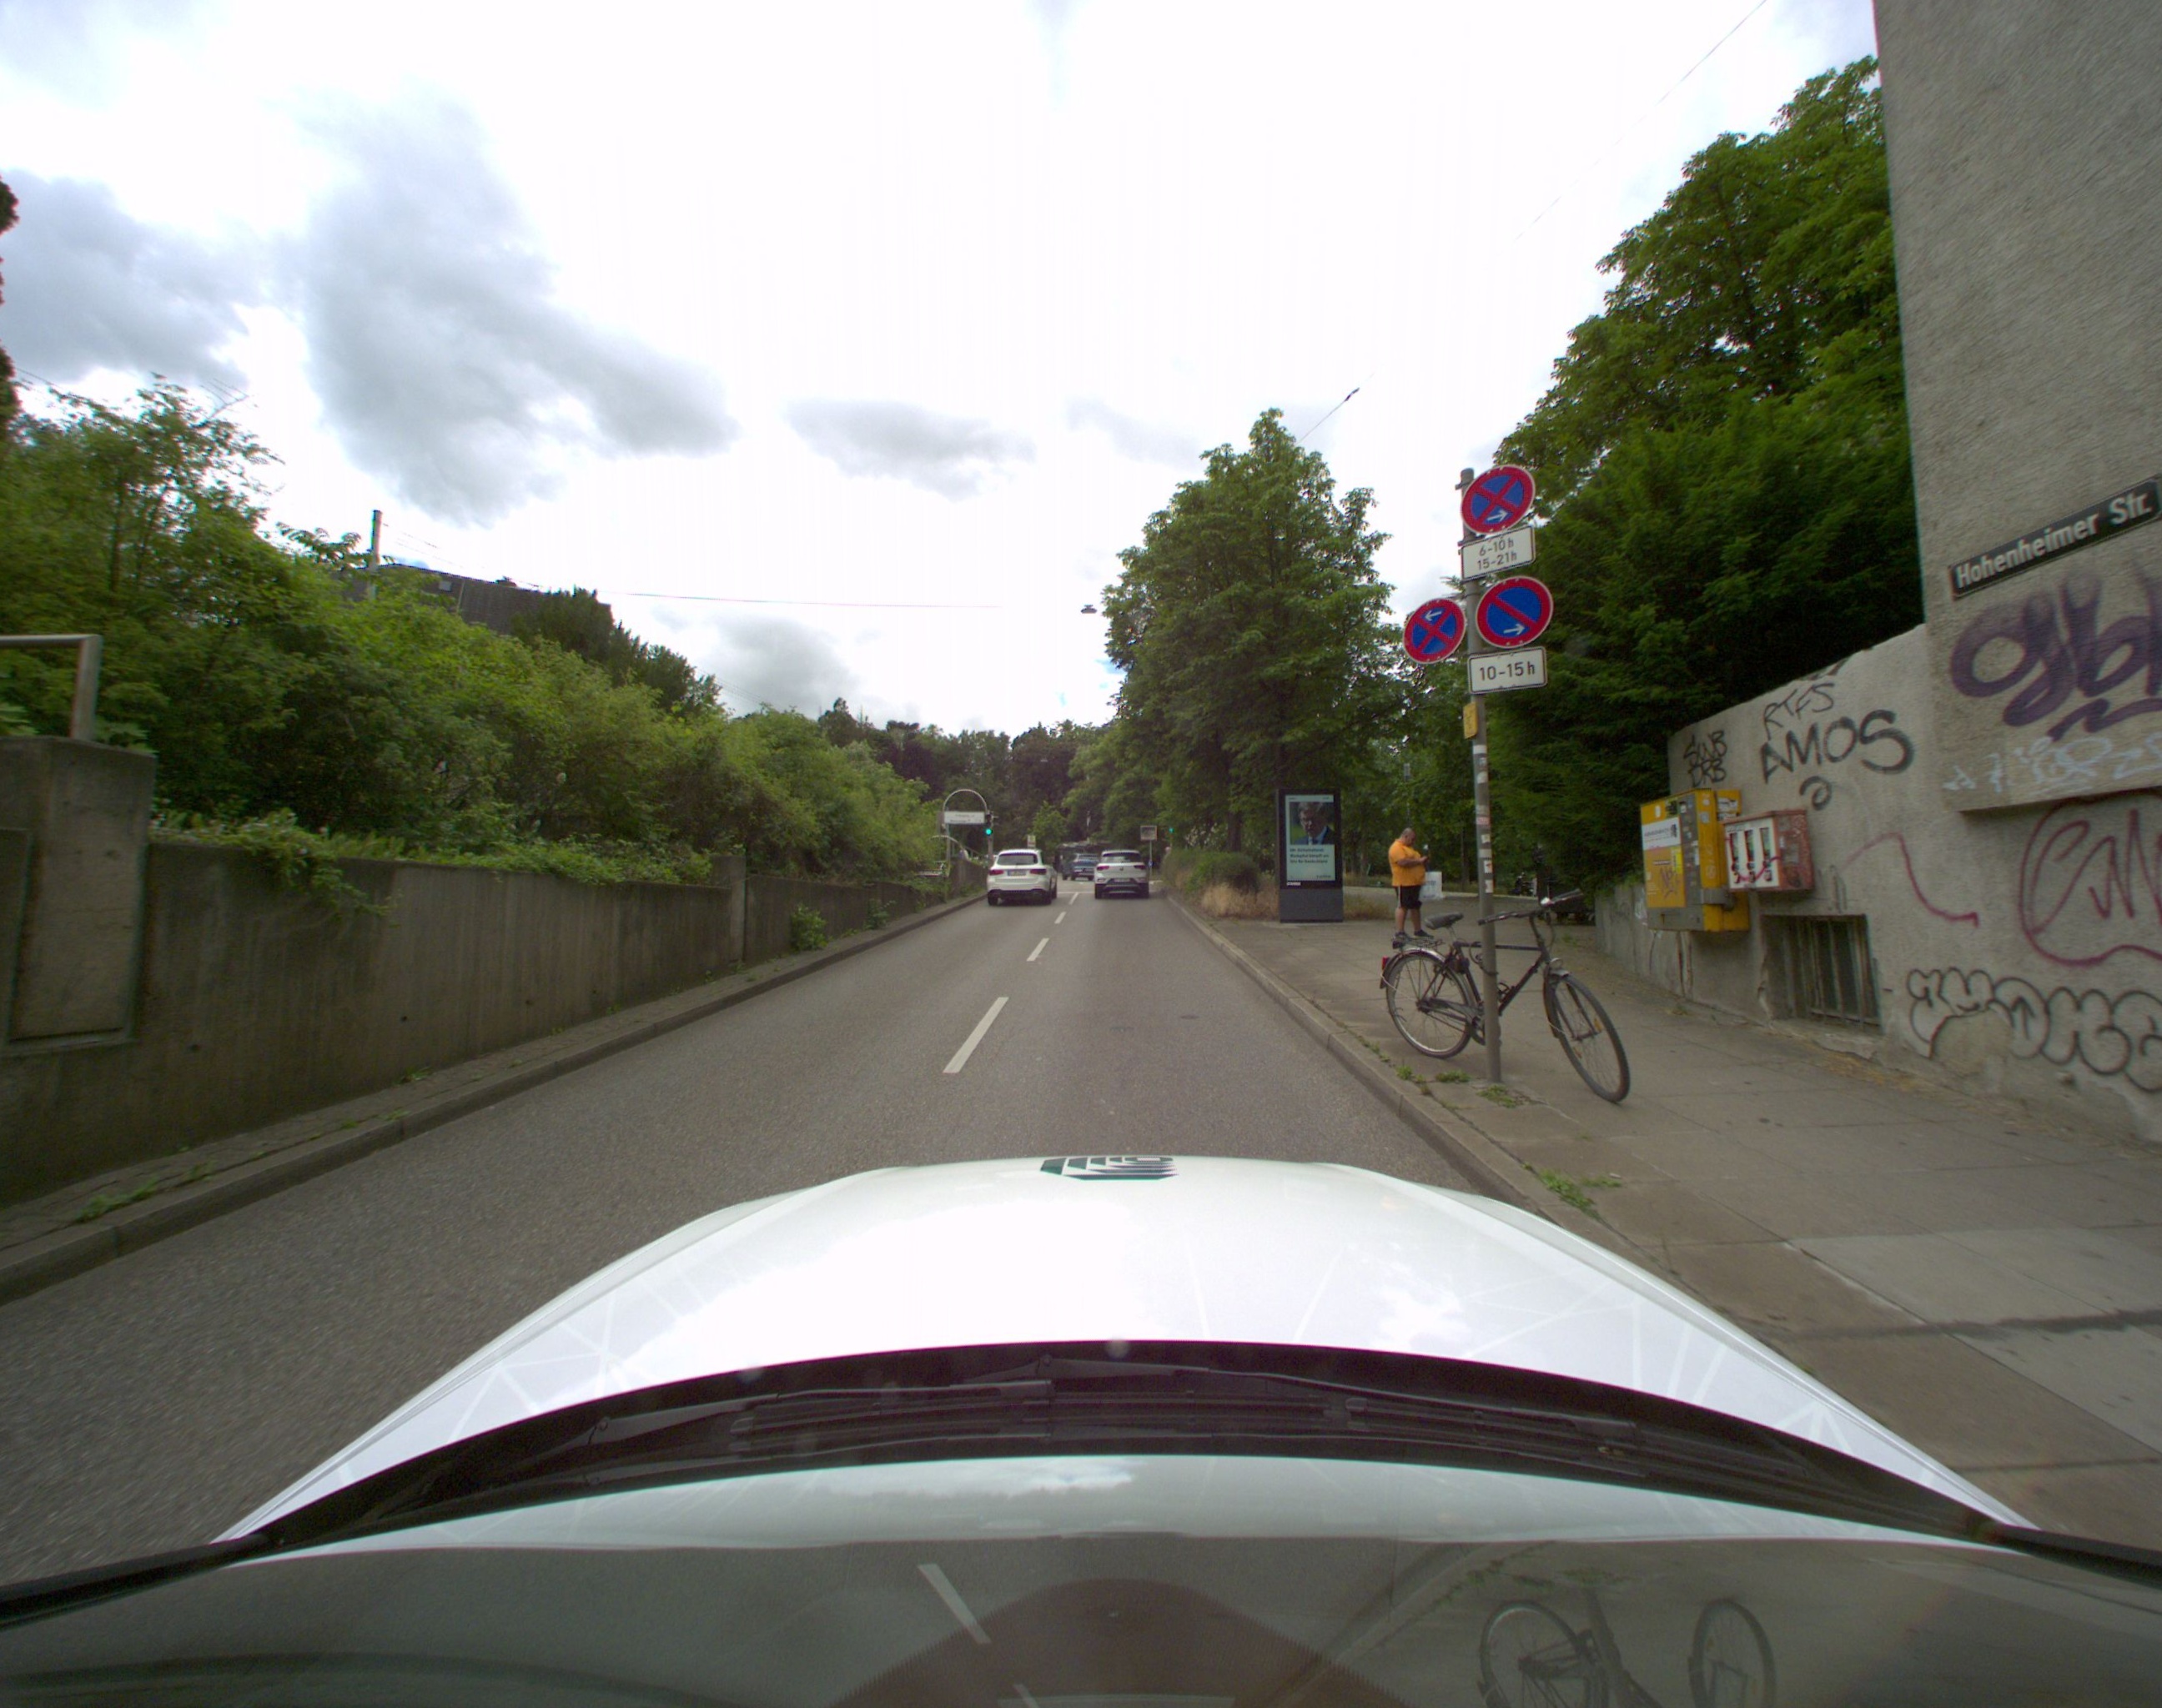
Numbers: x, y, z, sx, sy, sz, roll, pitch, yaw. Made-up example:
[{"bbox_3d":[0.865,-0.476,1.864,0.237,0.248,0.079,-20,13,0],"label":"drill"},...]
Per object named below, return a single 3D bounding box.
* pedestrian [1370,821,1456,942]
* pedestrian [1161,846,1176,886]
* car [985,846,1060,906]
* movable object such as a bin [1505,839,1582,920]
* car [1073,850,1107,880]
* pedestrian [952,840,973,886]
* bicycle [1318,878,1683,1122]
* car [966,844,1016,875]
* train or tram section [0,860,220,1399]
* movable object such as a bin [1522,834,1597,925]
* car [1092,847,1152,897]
[{"bbox_3d":[4.944,0.393,12.168,0.833,1.712,0.818,-2,-1,-12],"label":"pedestrian"},{"bbox_3d":[3.850,0.510,35.728,0.611,1.712,0.728,-2,-1,6],"label":"pedestrian"},{"bbox_3d":[-1.716,0.632,25.267,1.870,1.652,4.342,-1,0,1],"label":"car"},{"bbox_3d":[9.214,0.485,16.222,1.263,1.535,0.835,-1,0,-33],"label":"movable object such as a bin"},{"bbox_3d":[0.472,0.590,46.079,1.855,1.632,3.957,0,0,-1],"label":"car"},{"bbox_3d":[-4.825,0.352,33.169,0.701,1.861,0.616,-1,0,8],"label":"pedestrian"},{"bbox_3d":[2.409,0.740,5.035,0.641,1.143,2.049,-1,-1,-22],"label":"bicycle"},{"bbox_3d":[-5.770,0.353,51.793,2.003,1.882,3.968,1,0,-24],"label":"car"},{"bbox_3d":[-8.723,1.635,0.126,2.938,3.509,12.990,-1,-2,2],"label":"train or tram section"},{"bbox_3d":[8.509,0.439,14.468,1.156,1.536,0.833,0,-1,-44],"label":"movable object such as a bin"},{"bbox_3d":[1.400,0.577,27.439,1.857,1.556,3.897,-1,0,3],"label":"car"}]
